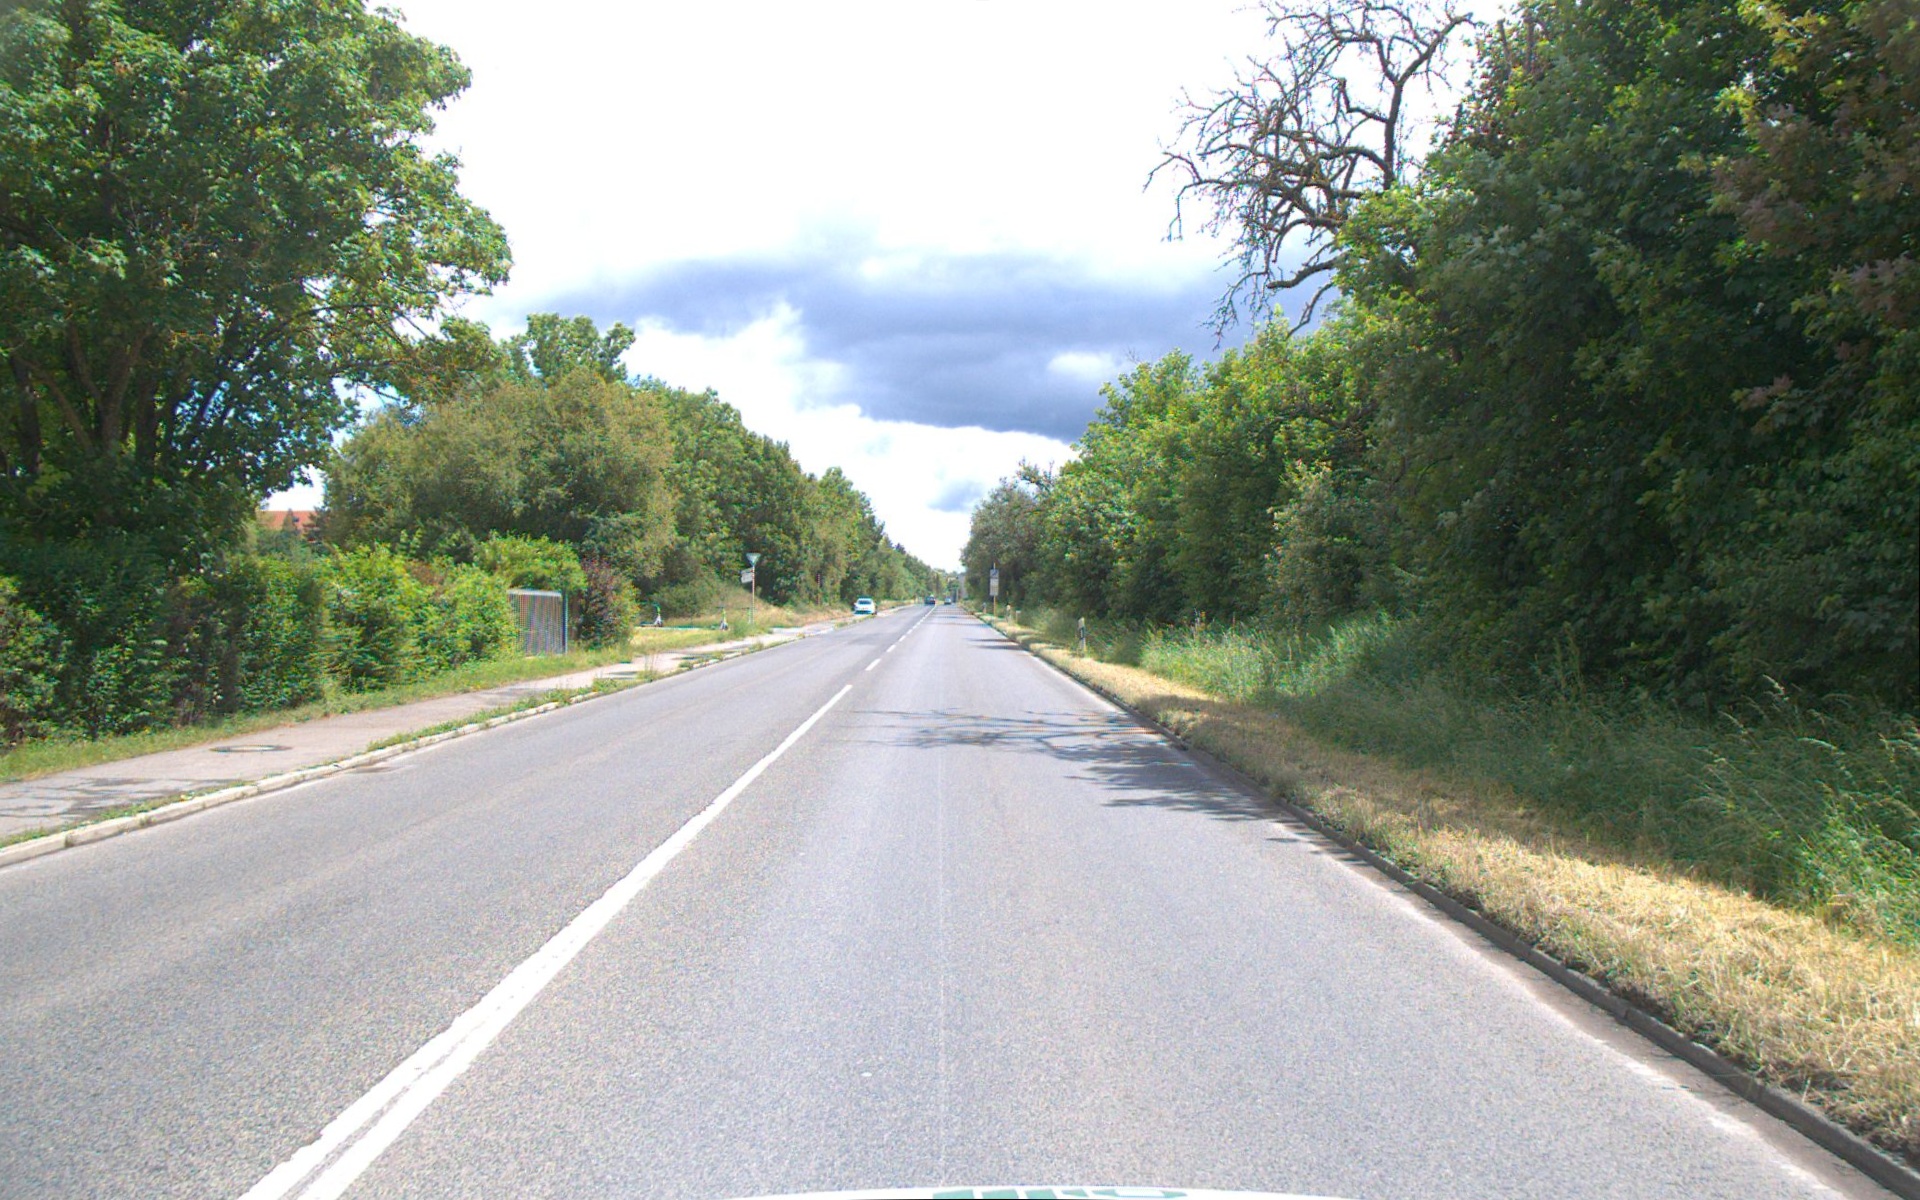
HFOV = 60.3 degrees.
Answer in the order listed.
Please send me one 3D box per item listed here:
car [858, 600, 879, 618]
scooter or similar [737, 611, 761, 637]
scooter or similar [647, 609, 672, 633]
[{"bbox_3d":[-8.390,0.824,151.849,1.761,1.570,3.954,0,-1,0],"label":"car"},{"bbox_3d":[-9.753,1.110,76.425,0.404,1.189,1.329,1,0,-43],"label":"scooter or similar"},{"bbox_3d":[-15.276,1.066,84.094,1.217,1.189,0.407,0,0,12],"label":"scooter or similar"}]
